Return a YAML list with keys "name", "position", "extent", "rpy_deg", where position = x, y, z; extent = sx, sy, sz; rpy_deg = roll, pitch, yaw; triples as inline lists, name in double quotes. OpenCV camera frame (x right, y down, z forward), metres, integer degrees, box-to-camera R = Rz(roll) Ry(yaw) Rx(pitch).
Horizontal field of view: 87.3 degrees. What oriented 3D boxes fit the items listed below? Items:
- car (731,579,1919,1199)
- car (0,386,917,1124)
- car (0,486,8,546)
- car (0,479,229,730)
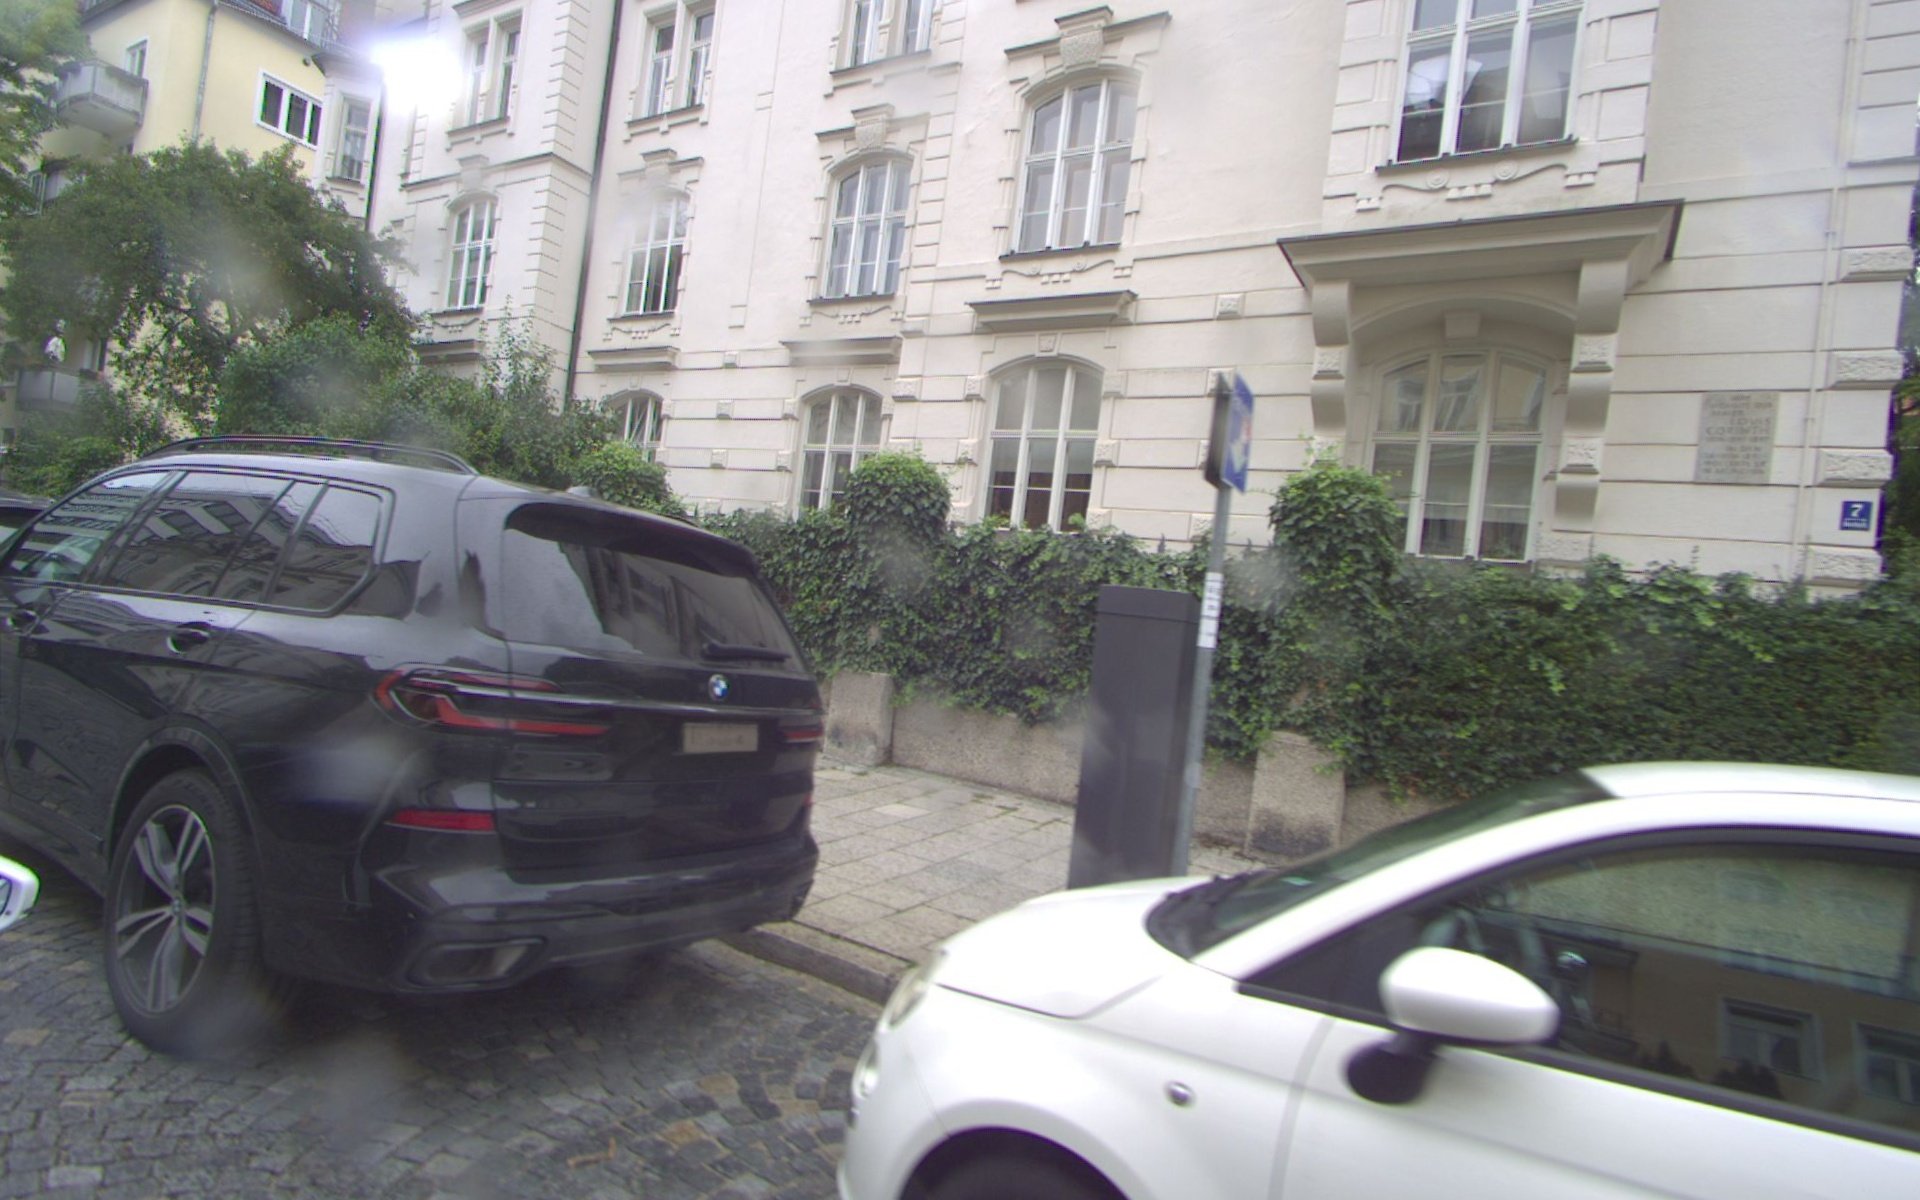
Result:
- name: "car"
  position: [1.529, 0.966, 1.899]
  extent: [3.598, 1.485, 1.635]
  rpy_deg: [6, -4, 32]
- name: "car"
  position: [-3.051, 0.181, 4.443]
  extent: [5.397, 1.692, 1.879]
  rpy_deg: [6, -2, 29]
- name: "car"
  position: [-11.951, -0.713, 10.334]
  extent: [4.315, 1.446, 1.778]
  rpy_deg: [6, -2, 28]
- name: "car"
  position: [-7.526, -0.139, 7.423]
  extent: [4.177, 1.497, 1.715]
  rpy_deg: [6, -4, 29]
